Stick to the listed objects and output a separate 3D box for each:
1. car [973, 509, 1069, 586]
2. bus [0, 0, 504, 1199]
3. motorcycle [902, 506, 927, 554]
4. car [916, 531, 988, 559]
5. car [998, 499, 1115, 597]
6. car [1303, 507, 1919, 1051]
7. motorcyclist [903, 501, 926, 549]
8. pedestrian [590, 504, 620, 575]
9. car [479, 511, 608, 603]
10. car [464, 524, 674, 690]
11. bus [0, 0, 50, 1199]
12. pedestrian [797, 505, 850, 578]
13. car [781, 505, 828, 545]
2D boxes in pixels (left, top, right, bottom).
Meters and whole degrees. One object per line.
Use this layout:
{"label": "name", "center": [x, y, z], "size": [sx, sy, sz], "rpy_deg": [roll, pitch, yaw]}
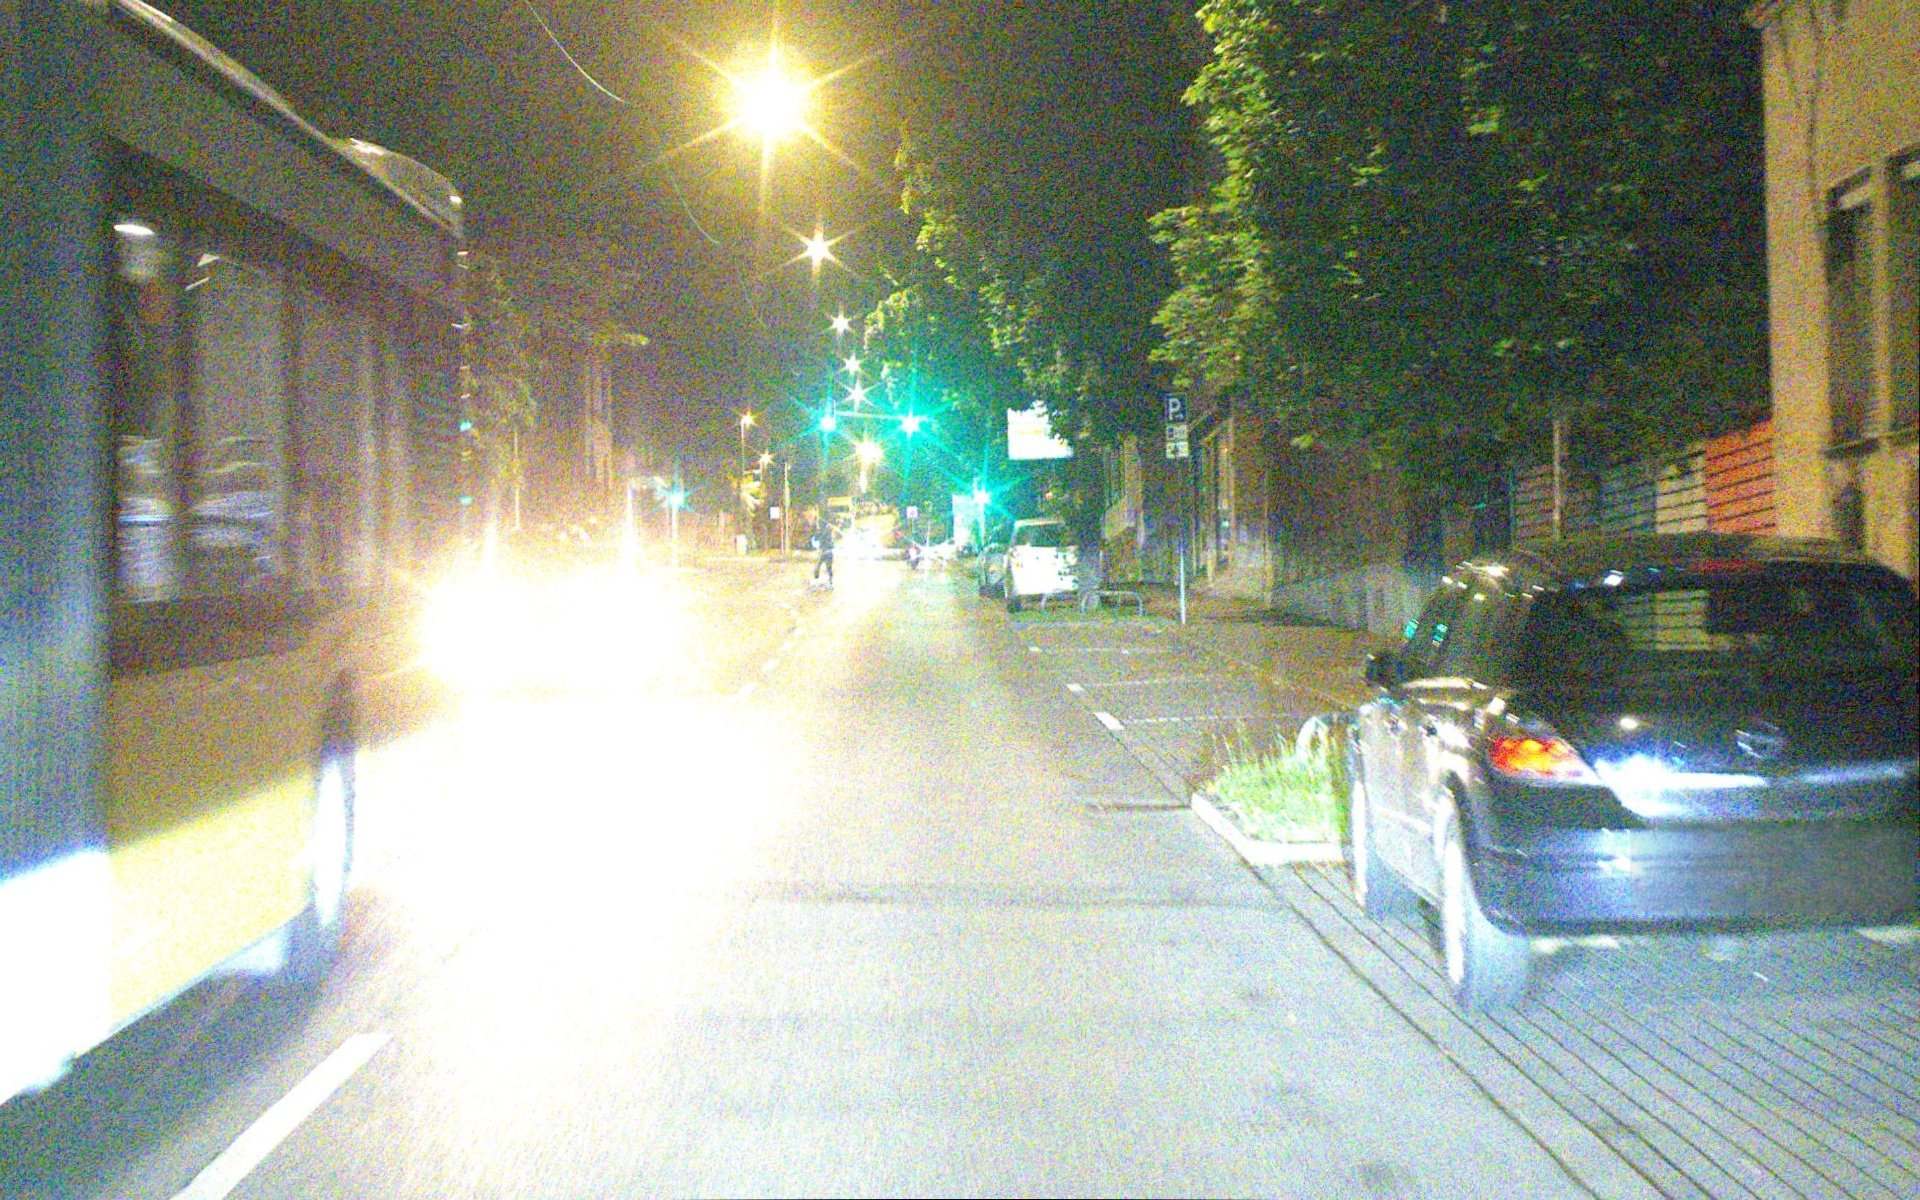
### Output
{"label": "car", "center": [1.277, -1.159, 74.044], "size": [1.868, 1.521, 4.150], "rpy_deg": [-2, 2, -1]}
{"label": "bus", "center": [-3.347, -0.374, 10.938], "size": [2.837, 3.166, 7.661], "rpy_deg": [0, 1, -1]}
{"label": "motorcycle", "center": [-1.684, -2.590, 127.052], "size": [0.931, 1.746, 2.625], "rpy_deg": [0, 0, -1]}
{"label": "car", "center": [-0.425, -2.940, 184.185], "size": [1.719, 1.452, 3.913], "rpy_deg": [0, 1, 42]}
{"label": "car", "center": [1.669, -0.953, 60.618], "size": [1.812, 1.588, 4.274], "rpy_deg": [-2, 2, -1]}
{"label": "car", "center": [2.321, 0.459, 11.889], "size": [1.763, 1.471, 4.081], "rpy_deg": [-3, 2, -1]}
{"label": "motorcyclist", "center": [-1.686, -2.778, 127.065], "size": [0.848, 1.746, 0.805], "rpy_deg": [0, 0, -1]}
{"label": "pedestrian", "center": [-8.872, -1.514, 85.850], "size": [0.718, 1.759, 0.603], "rpy_deg": [0, 0, -9]}
{"label": "car", "center": [-6.790, -0.723, 56.446], "size": [1.721, 1.432, 4.811], "rpy_deg": [-1, 1, -3]}
{"label": "car", "center": [-3.680, 0.019, 32.850], "size": [1.645, 1.417, 3.871], "rpy_deg": [-2, 2, -2]}
{"label": "bus", "center": [-3.206, -0.133, 1.774], "size": [2.837, 3.166, 10.499], "rpy_deg": [0, 1, -1]}
{"label": "pedestrian", "center": [-3.258, -1.401, 82.203], "size": [0.924, 1.694, 0.767], "rpy_deg": [1, 2, -37]}
{"label": "car", "center": [-6.849, -3.316, 151.962], "size": [1.944, 1.711, 4.000], "rpy_deg": [0, 0, -1]}
